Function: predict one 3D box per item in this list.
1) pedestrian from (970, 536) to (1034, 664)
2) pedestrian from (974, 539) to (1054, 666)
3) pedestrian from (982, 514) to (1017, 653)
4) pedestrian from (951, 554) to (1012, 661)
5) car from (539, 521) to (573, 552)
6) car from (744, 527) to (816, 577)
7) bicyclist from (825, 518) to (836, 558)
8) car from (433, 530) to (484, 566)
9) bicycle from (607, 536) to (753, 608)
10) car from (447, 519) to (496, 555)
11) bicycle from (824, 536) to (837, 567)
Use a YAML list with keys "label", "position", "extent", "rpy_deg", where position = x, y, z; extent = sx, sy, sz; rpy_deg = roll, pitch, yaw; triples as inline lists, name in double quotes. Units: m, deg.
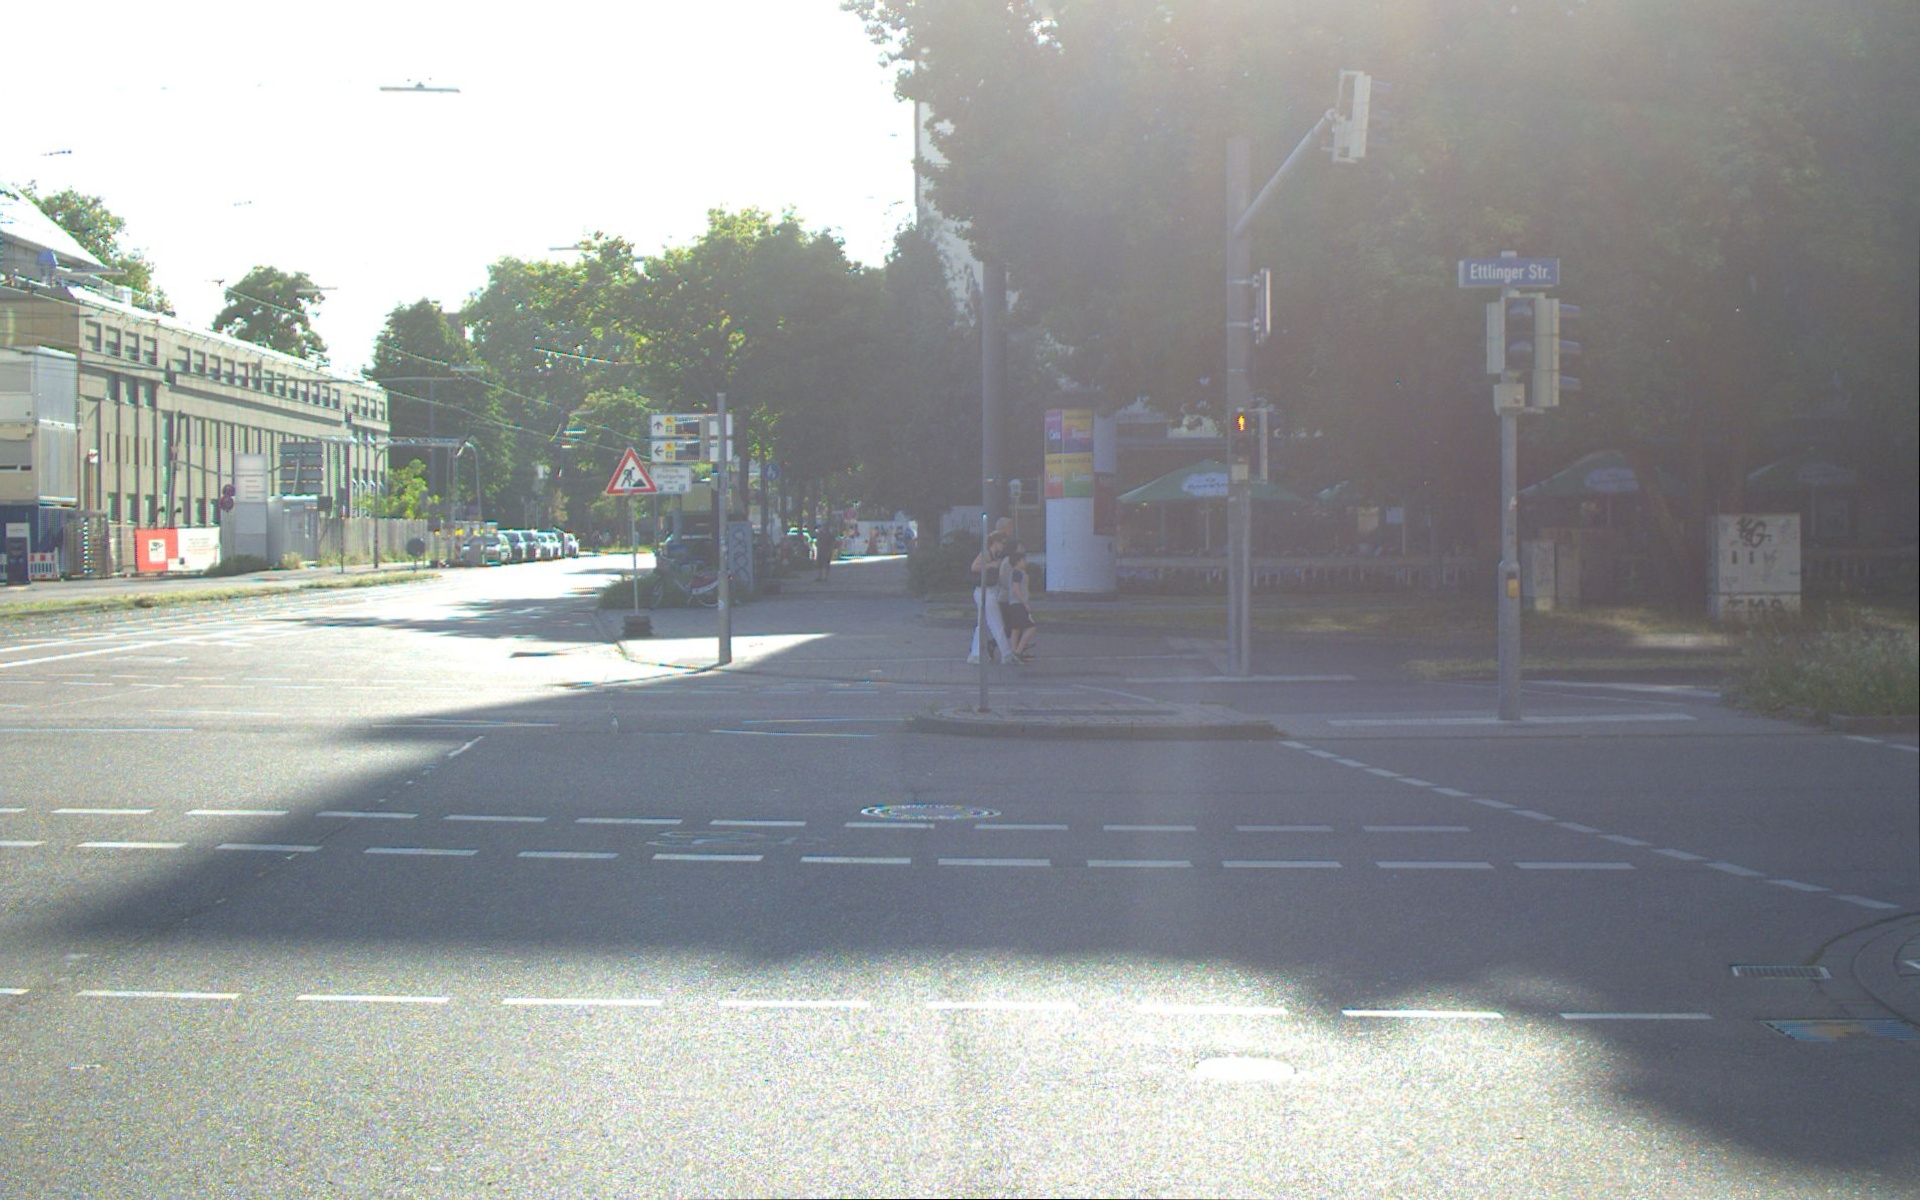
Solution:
- label: "pedestrian"
  position: [0.544, -0.003, 44.050]
  extent: [0.795, 1.634, 0.533]
  rpy_deg: [0, 1, 2]
- label: "pedestrian"
  position: [0.683, 0.024, 43.337]
  extent: [0.984, 1.582, 0.660]
  rpy_deg: [0, 0, 1]
- label: "pedestrian"
  position: [0.512, -0.223, 44.742]
  extent: [0.361, 1.798, 0.506]
  rpy_deg: [0, 1, 11]
- label: "pedestrian"
  position: [0.272, 0.088, 43.567]
  extent: [0.752, 1.328, 0.742]
  rpy_deg: [0, 1, 1]
- label: "car"
  position: [-22.825, -3.586, 194.451]
  extent: [1.483, 1.744, 4.000]
  rpy_deg: [-1, 1, -1]
- label: "car"
  position: [-4.719, -1.264, 90.394]
  extent: [1.819, 1.274, 4.001]
  rpy_deg: [0, 1, -3]
- label: "bicyclist"
  position: [-3.709, -1.770, 98.413]
  extent: [0.318, 1.123, 0.291]
  rpy_deg: [-1, 1, 0]
- label: "car"
  position: [-22.819, -2.373, 156.514]
  extent: [1.731, 1.647, 4.000]
  rpy_deg: [0, 1, -1]
- label: "bicycle"
  position: [-5.469, -0.553, 67.134]
  extent: [2.748, 1.363, 0.630]
  rpy_deg: [1, 0, 11]
- label: "car"
  position: [-22.757, -2.918, 160.148]
  extent: [1.731, 1.647, 4.000]
  rpy_deg: [0, 1, -1]
- label: "bicycle"
  position: [-3.707, -1.392, 98.421]
  extent: [0.324, 0.865, 1.483]
  rpy_deg: [-1, 1, -1]
